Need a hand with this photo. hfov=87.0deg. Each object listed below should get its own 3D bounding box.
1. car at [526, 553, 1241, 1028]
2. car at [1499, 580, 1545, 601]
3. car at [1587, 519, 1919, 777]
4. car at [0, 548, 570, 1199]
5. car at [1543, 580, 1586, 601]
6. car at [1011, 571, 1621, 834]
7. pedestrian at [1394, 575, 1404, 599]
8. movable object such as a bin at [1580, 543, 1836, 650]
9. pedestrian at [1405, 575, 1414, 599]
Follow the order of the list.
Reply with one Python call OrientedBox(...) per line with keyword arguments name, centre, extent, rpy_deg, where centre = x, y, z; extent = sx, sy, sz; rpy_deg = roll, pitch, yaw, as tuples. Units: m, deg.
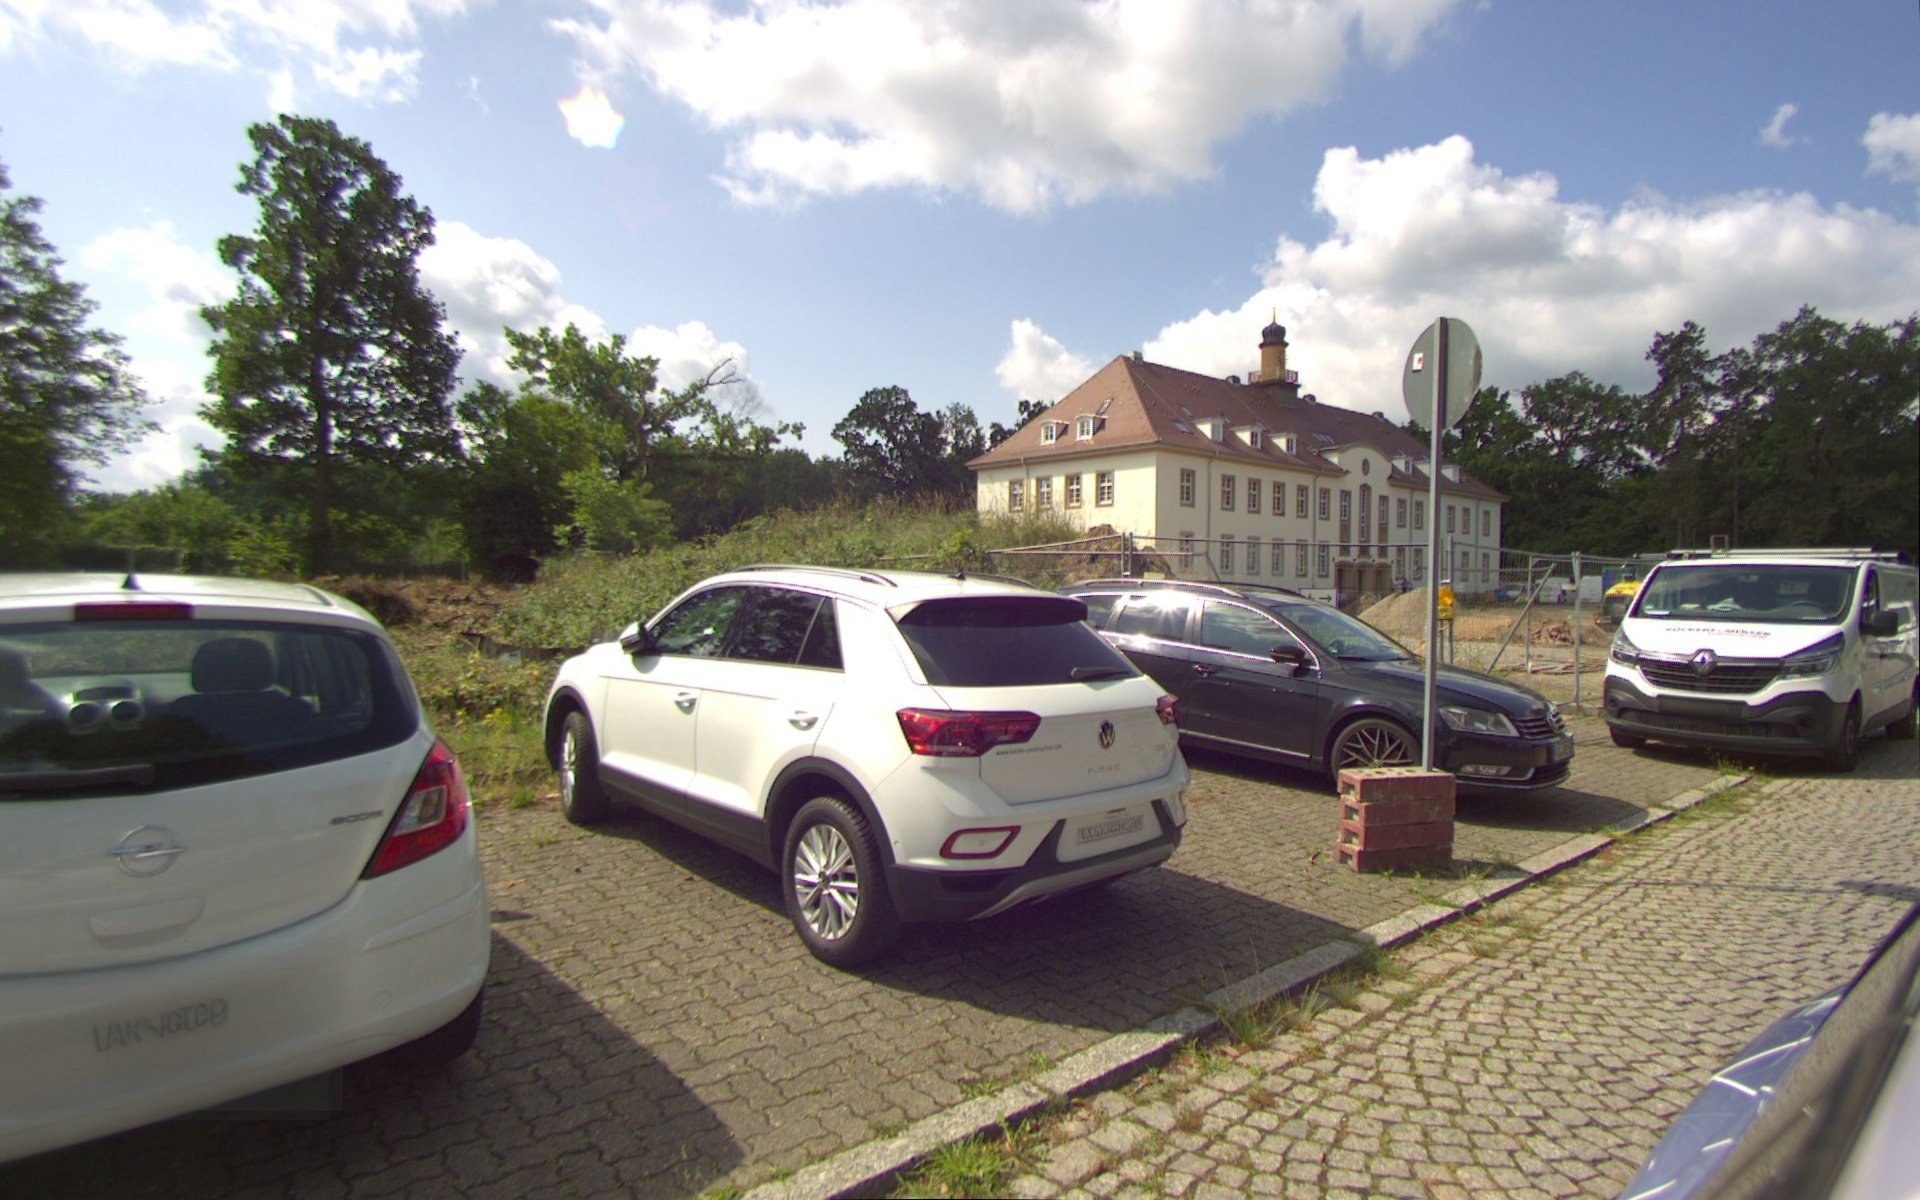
OrientedBox(name="car", centre=(-0.732, 0.556, 5.412), extent=(1.717, 1.525, 3.993), rpy_deg=(-1, 3, -42))
OrientedBox(name="car", centre=(48.225, -0.860, 86.752), extent=(4.623, 1.749, 1.884), rpy_deg=(-1, 2, -39))
OrientedBox(name="car", centre=(8.743, 0.332, 10.672), extent=(5.577, 2.079, 1.918), rpy_deg=(-1, 2, -40))
OrientedBox(name="car", centre=(-3.033, 0.580, 3.673), extent=(1.675, 1.482, 4.049), rpy_deg=(-1, 3, -42))
OrientedBox(name="car", centre=(50.459, -0.832, 84.486), extent=(3.967, 1.704, 1.802), rpy_deg=(-1, 2, -39))
OrientedBox(name="car", centre=(2.641, 0.572, 8.387), extent=(1.717, 1.493, 4.458), rpy_deg=(-1, 3, -44))
OrientedBox(name="pedestrian", centre=(32.700, -0.950, 75.379), extent=(0.496, 1.810, 0.492), rpy_deg=(0, 0, -18))
OrientedBox(name="movable object such as a bin", centre=(19.499, -0.081, 26.471), extent=(5.538, 2.553, 2.154), rpy_deg=(1, 1, -12))
OrientedBox(name="pedestrian", centre=(33.851, -0.962, 76.233), extent=(0.498, 1.810, 0.490), rpy_deg=(0, 0, -43))
